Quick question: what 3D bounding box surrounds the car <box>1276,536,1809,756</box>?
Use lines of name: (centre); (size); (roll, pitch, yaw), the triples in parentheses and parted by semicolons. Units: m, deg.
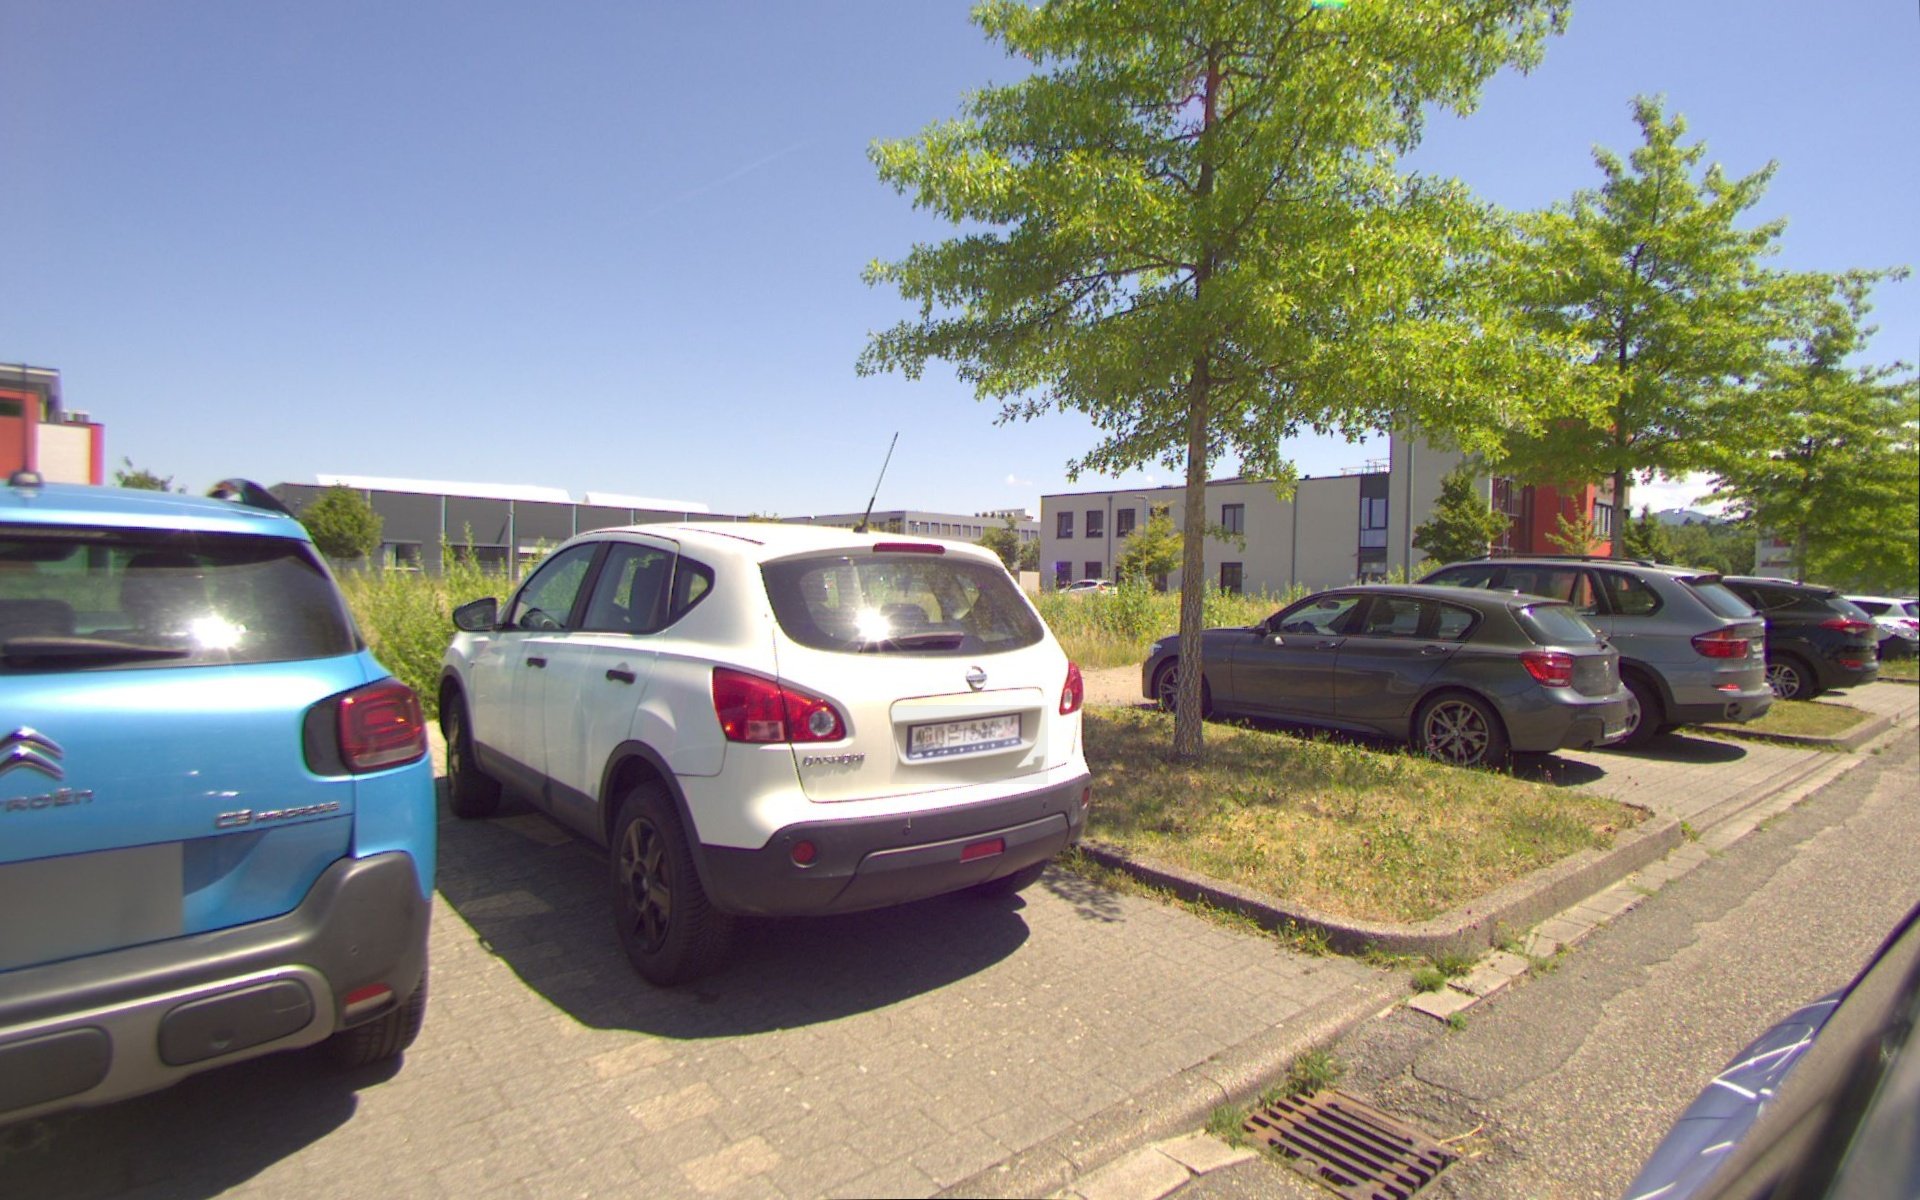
car: (5.906, 0.282, 10.723); (1.959, 1.790, 4.457); (1, 3, -42)

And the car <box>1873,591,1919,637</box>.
car: (34.851, 0.569, 35.520); (1.745, 1.572, 3.848); (2, 1, -35)

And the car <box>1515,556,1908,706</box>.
car: (10.544, 0.309, 14.464); (1.751, 1.717, 4.182); (0, 3, -41)

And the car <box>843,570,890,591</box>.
car: (-7.387, -1.572, 80.035); (1.689, 1.528, 3.996); (1, 2, -40)

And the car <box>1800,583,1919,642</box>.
car: (29.093, 0.394, 31.646); (1.663, 1.645, 4.057); (1, 3, -40)

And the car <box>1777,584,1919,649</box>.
car: (25.730, 0.479, 27.909); (1.882, 1.580, 4.722); (0, 3, -44)

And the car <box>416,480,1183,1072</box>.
car: (-1.157, 0.375, 4.939); (1.868, 1.627, 4.078); (-1, 3, -40)

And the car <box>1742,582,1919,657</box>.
car: (20.912, 0.423, 23.826); (1.646, 1.521, 3.641); (0, 3, -39)

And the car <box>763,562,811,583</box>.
car: (-12.990, -2.081, 75.903); (1.689, 1.470, 3.996); (1, 2, -40)

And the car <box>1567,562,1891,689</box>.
car: (12.428, 0.310, 16.552); (1.750, 1.698, 3.885); (1, 3, -40)

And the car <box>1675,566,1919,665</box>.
car: (18.708, 0.262, 22.326); (1.763, 1.852, 4.415); (0, 3, -39)

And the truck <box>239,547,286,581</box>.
truck: (-43.822, -2.282, 63.543); (1.965, 2.038, 3.995); (1, 2, -41)

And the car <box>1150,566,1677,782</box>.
car: (3.879, 0.447, 9.178); (1.876, 1.426, 3.931); (-1, 3, -40)

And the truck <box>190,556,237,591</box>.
truck: (-45.281, -1.621, 61.367); (1.965, 2.038, 4.351); (1, 2, -41)

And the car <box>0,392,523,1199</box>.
car: (-3.055, 0.355, 3.372); (1.806, 1.664, 3.995); (0, 3, -41)

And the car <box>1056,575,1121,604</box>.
car: (7.171, -0.602, 56.682); (1.689, 1.528, 3.330); (1, 2, -40)

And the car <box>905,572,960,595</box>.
car: (-1.971, -1.161, 70.833); (1.689, 1.528, 3.994); (1, 2, -41)

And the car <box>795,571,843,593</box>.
car: (-10.739, -1.387, 76.930); (1.689, 1.528, 3.996); (1, 2, -40)
